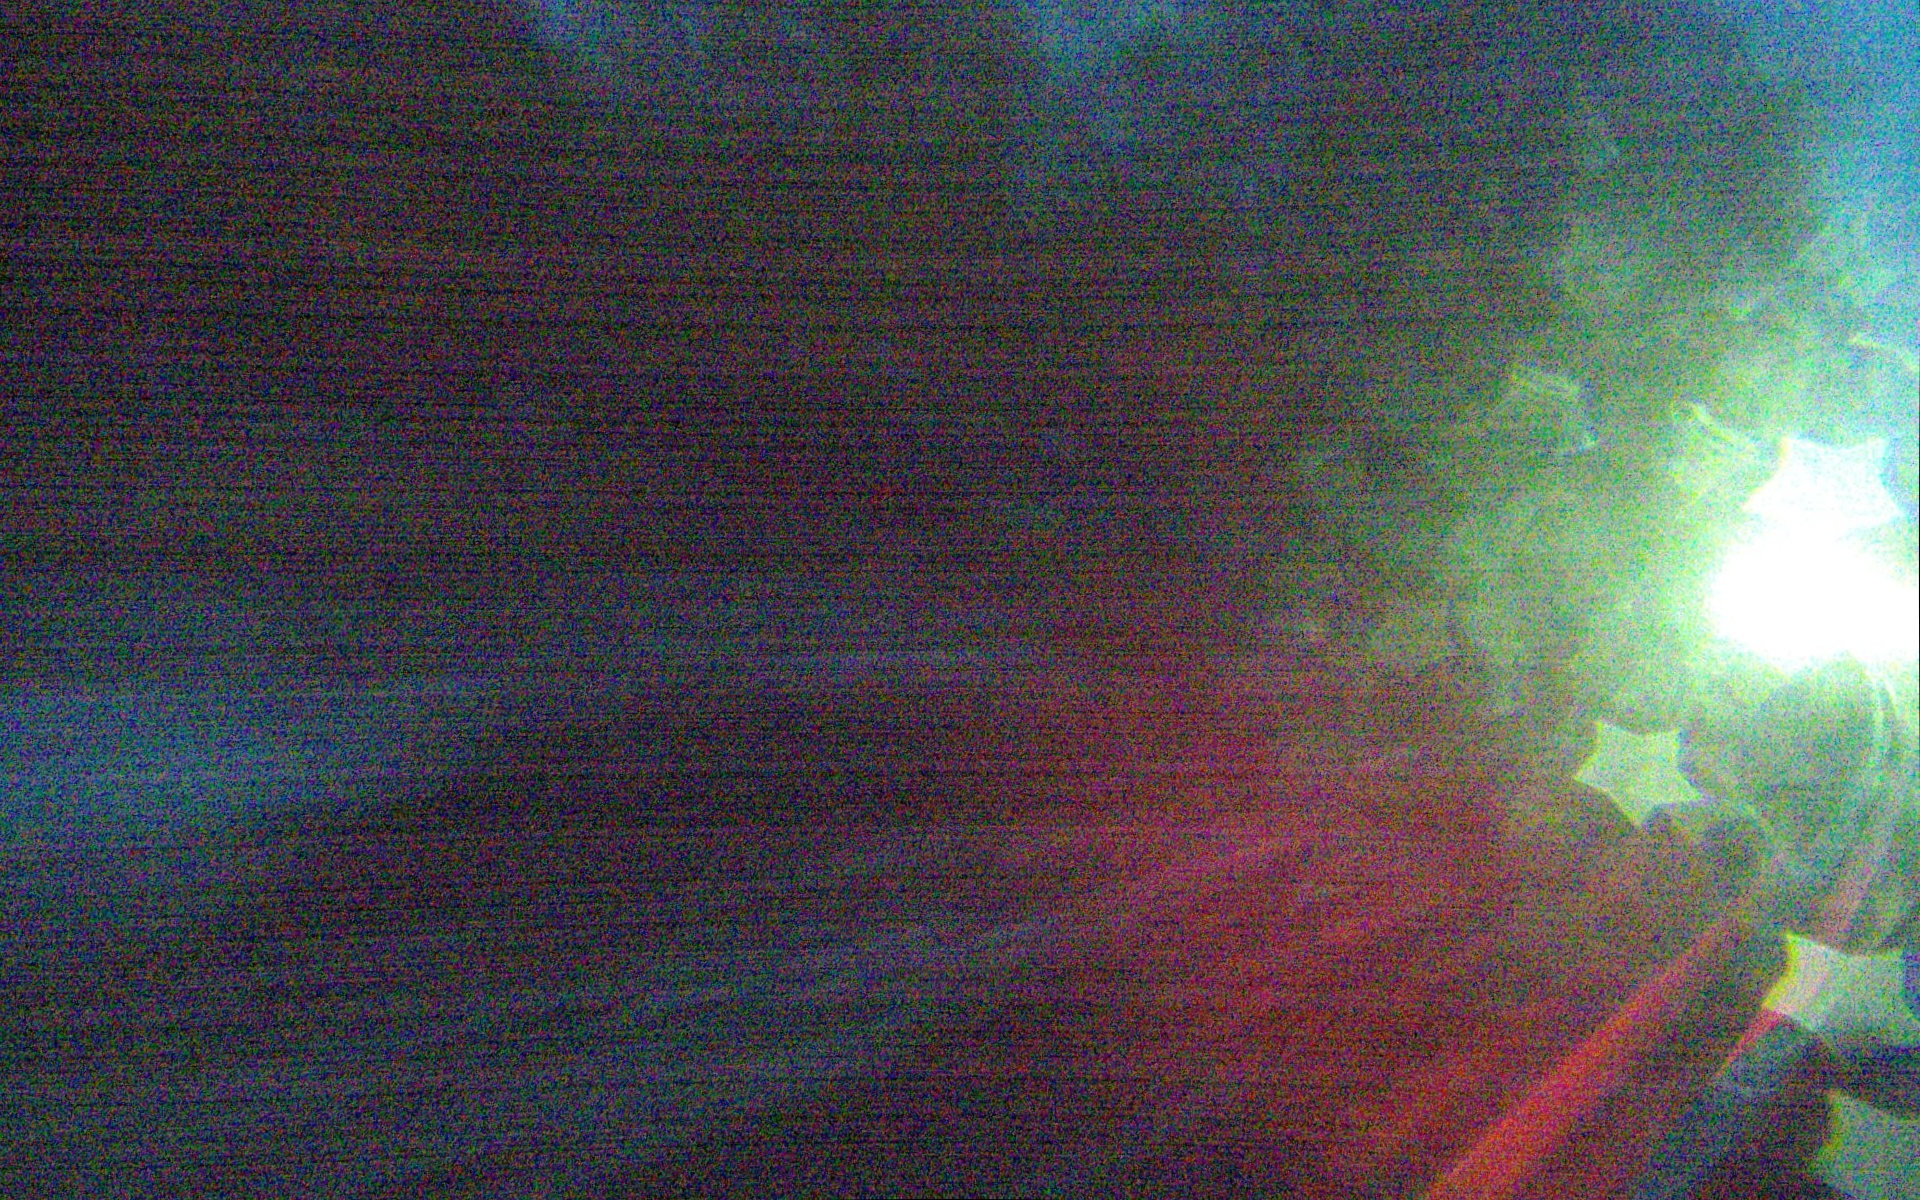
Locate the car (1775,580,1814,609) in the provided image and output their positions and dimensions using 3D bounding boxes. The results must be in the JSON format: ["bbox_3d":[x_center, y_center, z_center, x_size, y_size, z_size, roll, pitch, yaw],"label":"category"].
[{"bbox_3d":[57.093,-0.389,69.280,1.788,1.873,3.597,0,1,35],"label":"car"}]

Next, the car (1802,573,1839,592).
[{"bbox_3d":[68.977,-1.391,81.166,1.989,1.428,3.947,0,2,37],"label":"car"}]

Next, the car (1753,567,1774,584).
[{"bbox_3d":[95.539,-2.949,120.319,1.775,1.866,4.107,0,2,37],"label":"car"}]
